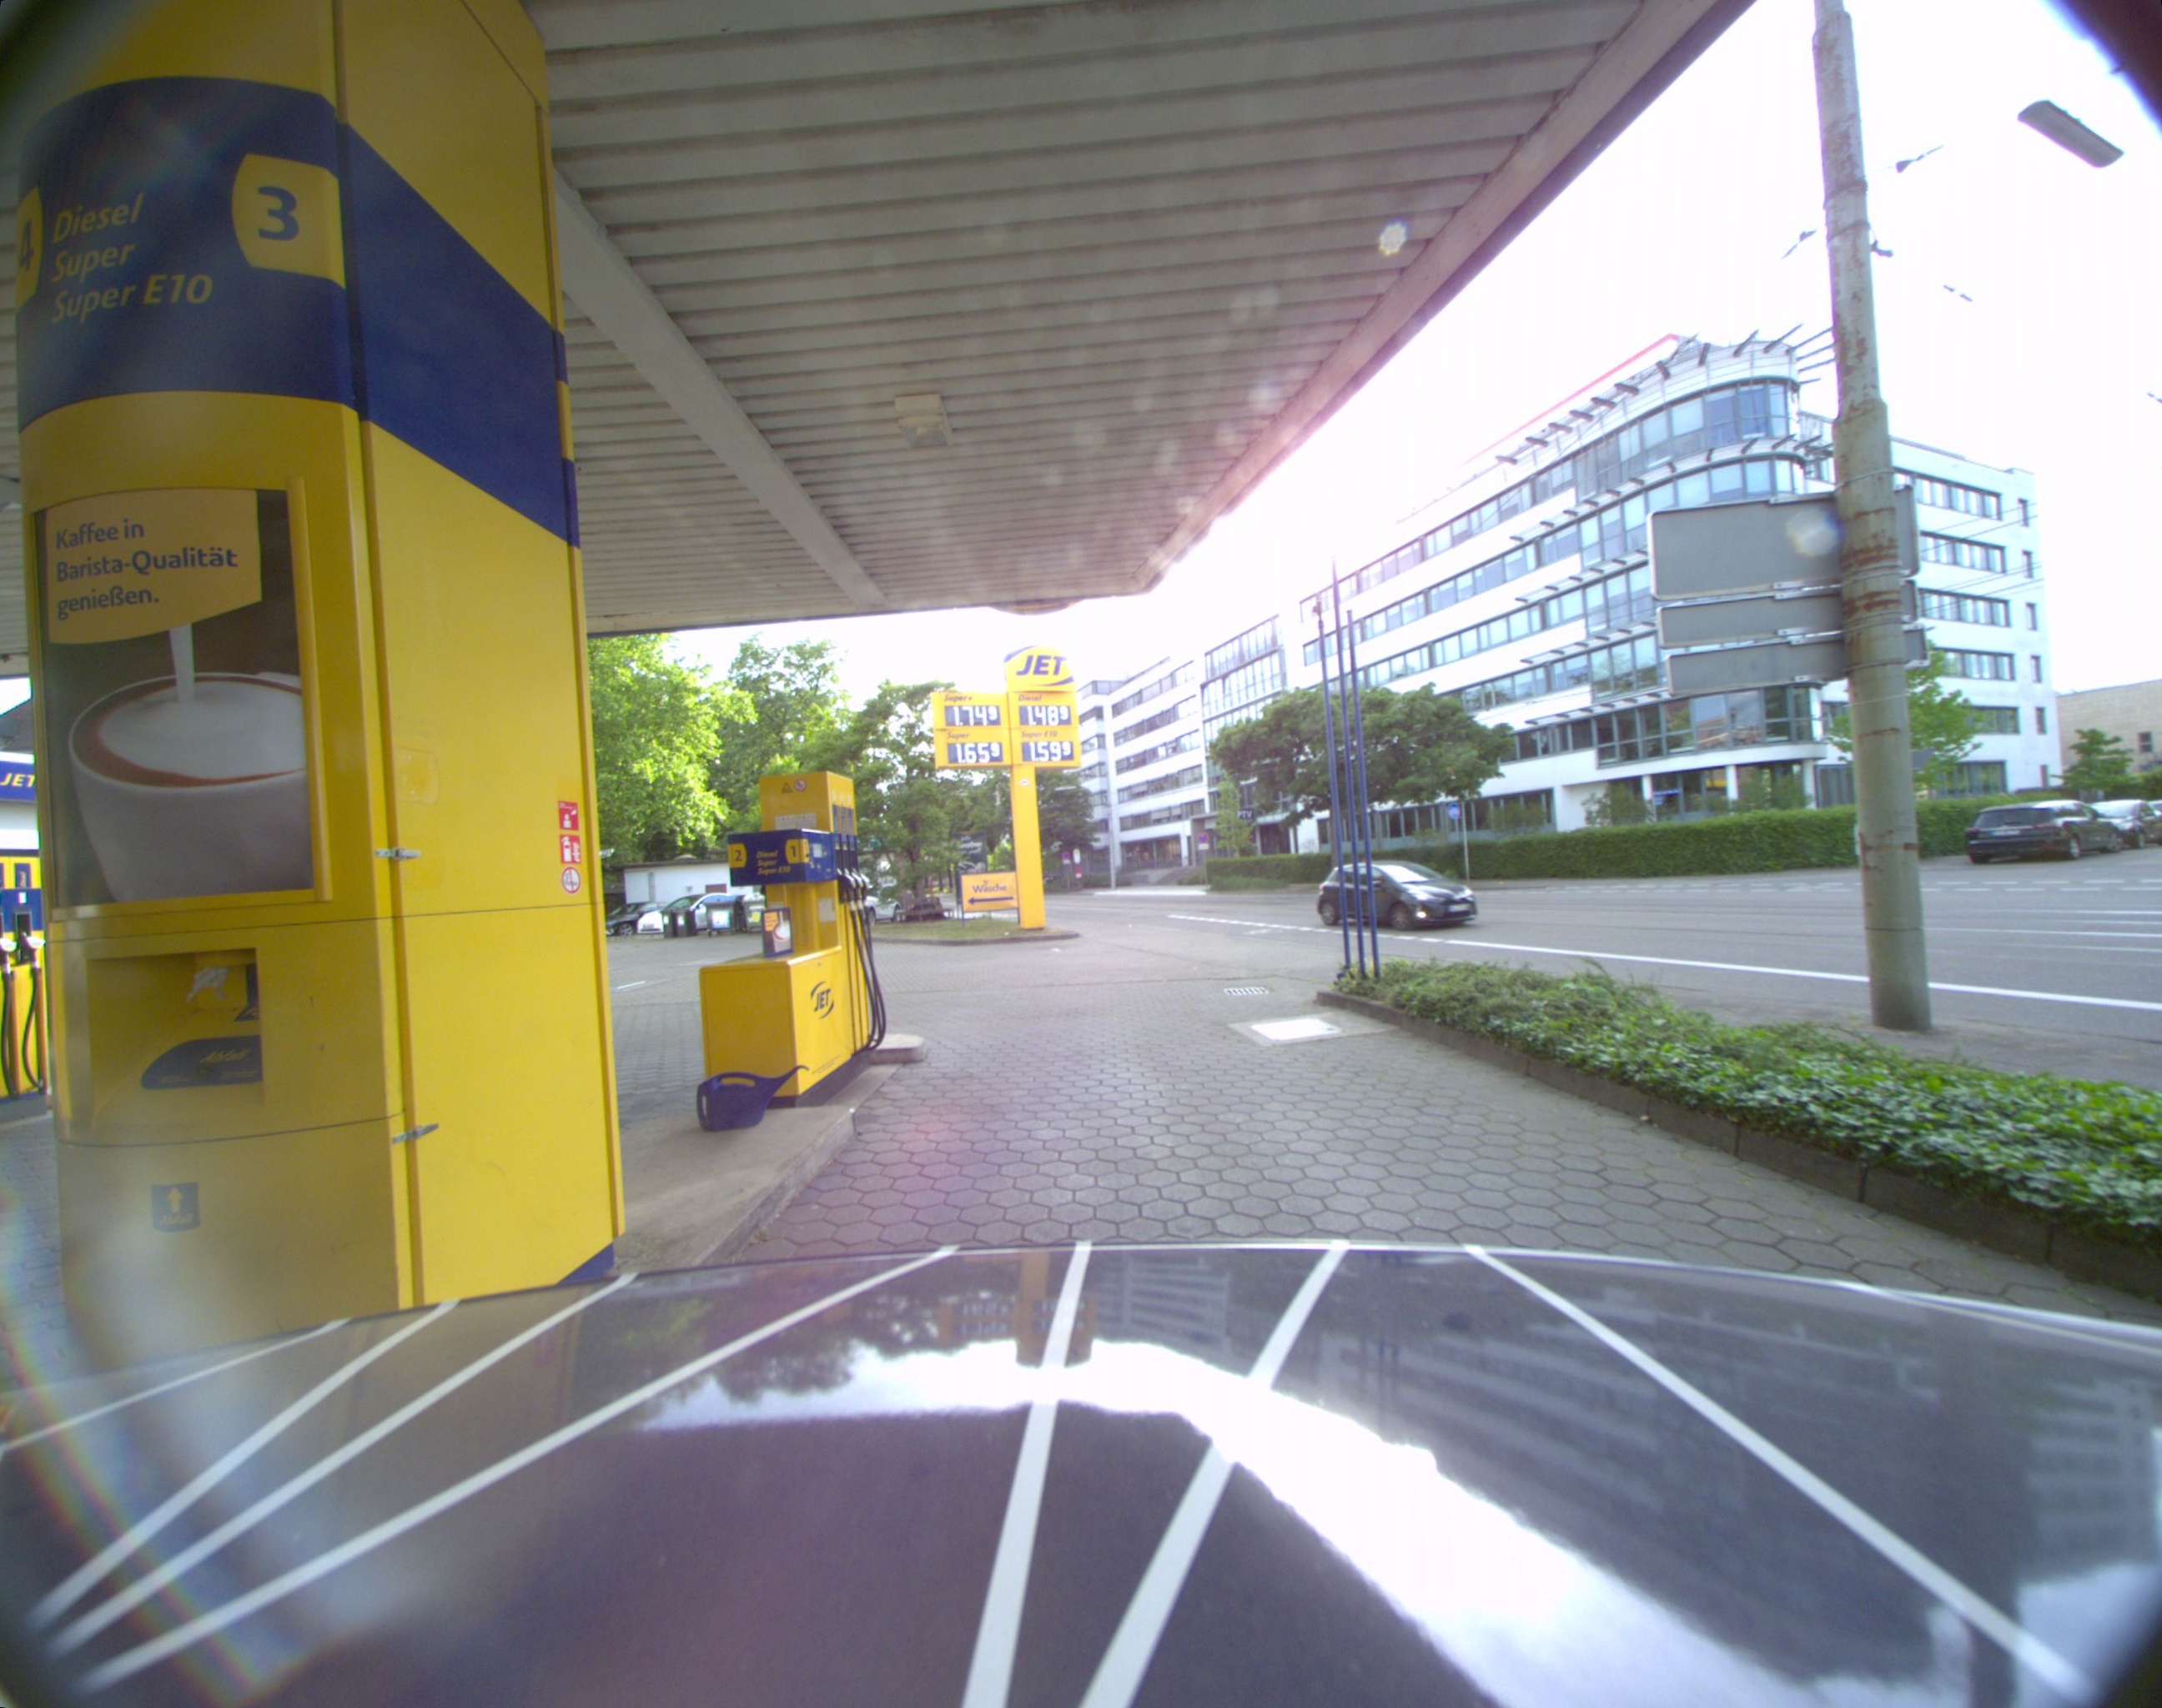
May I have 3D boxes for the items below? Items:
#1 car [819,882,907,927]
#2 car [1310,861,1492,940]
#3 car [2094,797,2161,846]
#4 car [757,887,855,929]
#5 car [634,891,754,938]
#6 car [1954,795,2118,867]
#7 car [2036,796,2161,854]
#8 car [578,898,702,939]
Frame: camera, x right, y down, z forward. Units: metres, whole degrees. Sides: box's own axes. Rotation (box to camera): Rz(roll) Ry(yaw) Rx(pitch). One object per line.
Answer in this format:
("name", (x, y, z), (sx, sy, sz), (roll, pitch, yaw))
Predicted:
("car", (-8.636, 1.993, 30.500), (1.772, 1.591, 4.398), (-4, -4, 6))
("car", (7.181, 1.014, 17.491), (1.691, 1.463, 3.807), (-5, -1, -18))
("car", (37.129, -1.194, 26.149), (4.296, 1.509, 1.945), (-4, -1, -27))
("car", (-11.655, 2.258, 32.491), (1.771, 1.591, 4.400), (-4, -4, 13))
("car", (-15.292, 2.355, 30.312), (1.771, 1.591, 4.398), (-2, -1, 14))
("car", (27.276, -0.664, 21.693), (4.296, 1.681, 2.010), (-4, -1, -27))
("car", (32.547, -0.939, 24.096), (4.296, 1.530, 1.945), (-4, -1, -27))
("car", (-17.794, 2.580, 30.905), (1.771, 1.367, 4.398), (-2, -1, 14))
